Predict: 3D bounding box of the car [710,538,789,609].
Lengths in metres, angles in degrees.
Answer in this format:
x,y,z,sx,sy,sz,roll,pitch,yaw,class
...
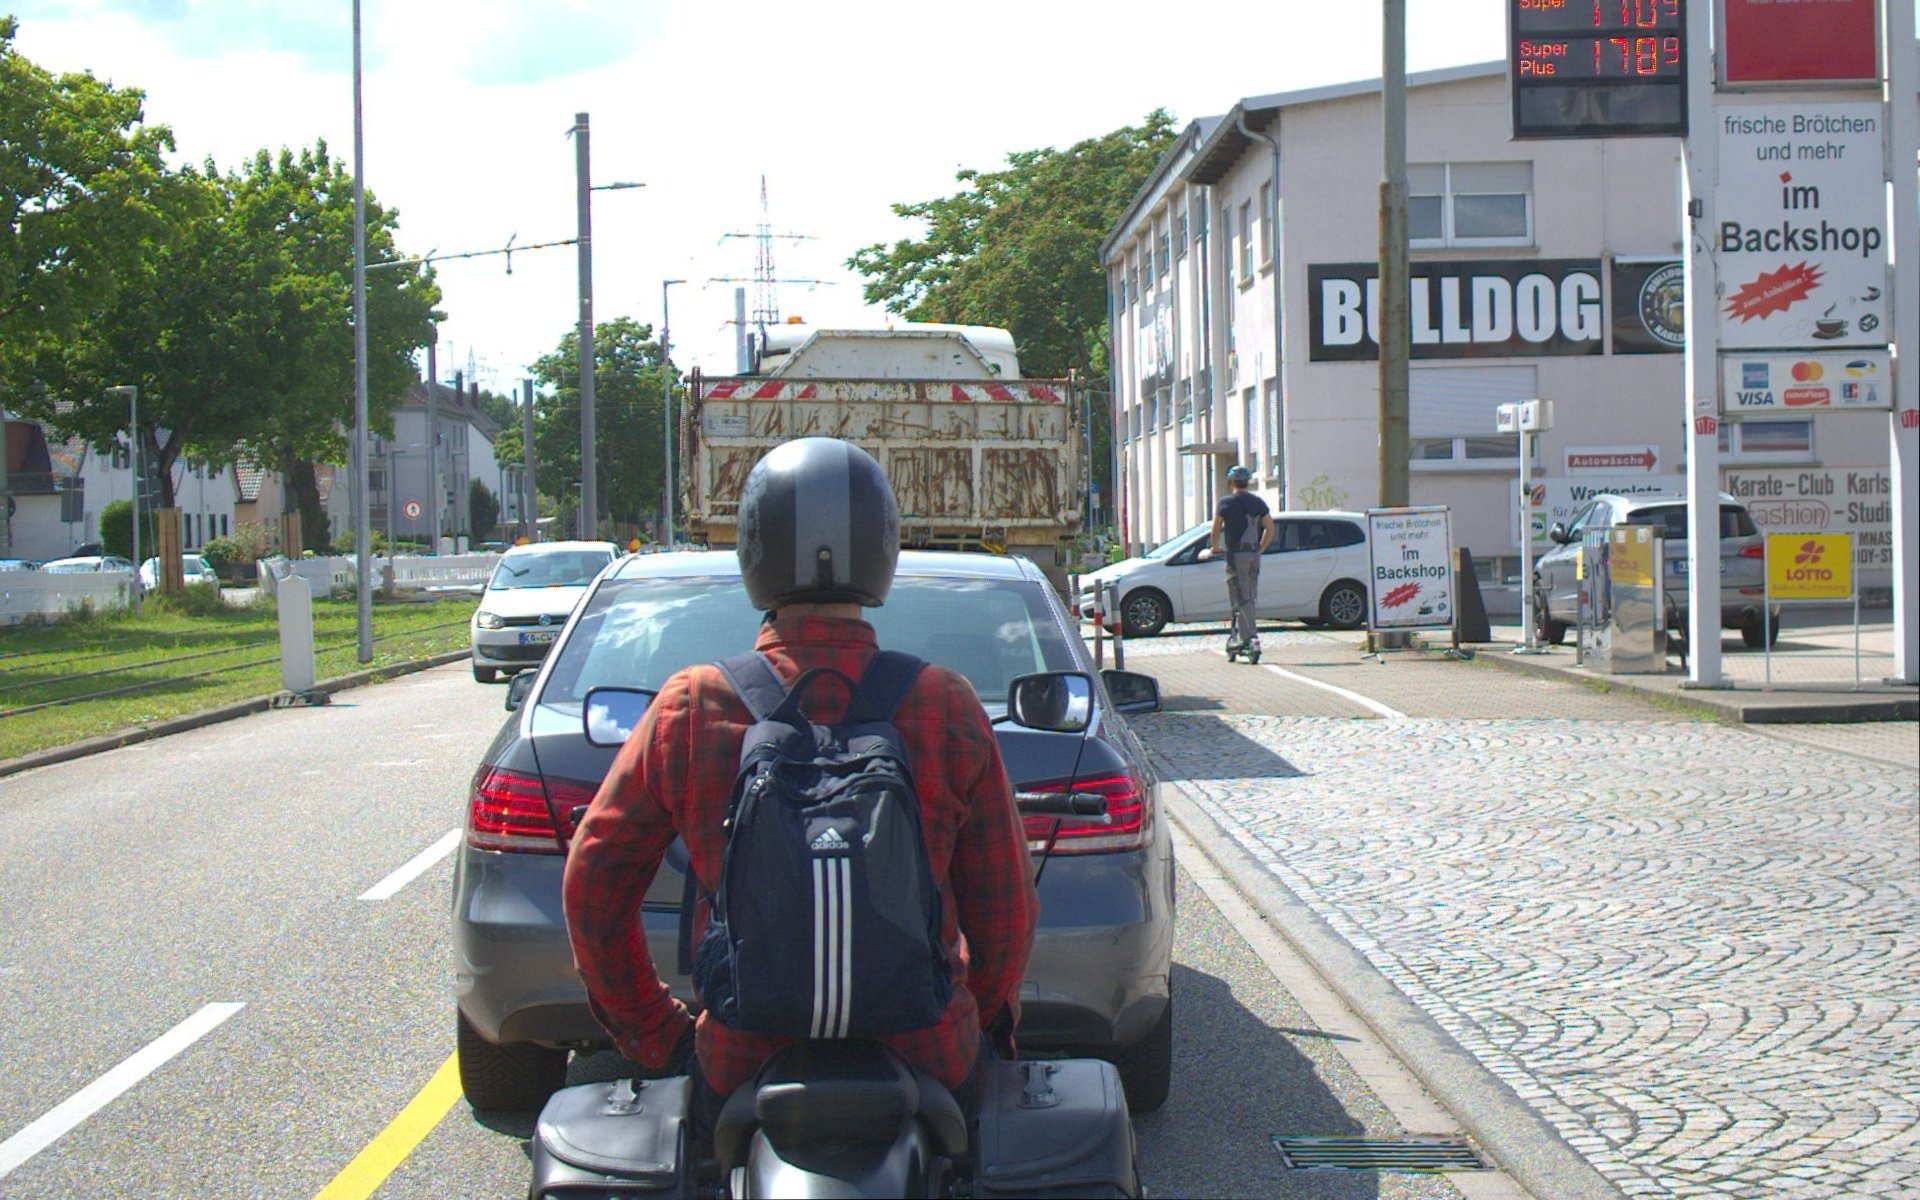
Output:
x,y,z,sx,sy,sz,roll,pitch,yaw,class
-5.053,-0.651,82.959,1.680,1.619,4.119,-1,1,-1,car

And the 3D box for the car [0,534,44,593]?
x,y,z,sx,sy,sz,roll,pitch,yaw,class
-29.268,-1.113,104.585,1.698,1.733,4.062,-1,1,0,car

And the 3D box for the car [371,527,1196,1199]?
x,y,z,sx,sy,sz,roll,pitch,yaw,class
-0.454,0.552,9.799,1.832,1.474,4.010,-1,1,-2,car

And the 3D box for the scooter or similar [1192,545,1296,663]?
x,y,z,sx,sy,sz,roll,pitch,yaw,class
2.864,0.026,34.804,0.795,1.141,1.519,-1,1,-5,scooter or similar

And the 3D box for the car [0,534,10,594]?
x,y,z,sx,sy,sz,roll,pitch,yaw,class
-28.673,-1.001,98.575,1.698,1.733,4.062,-1,1,0,car

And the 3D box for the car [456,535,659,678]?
x,y,z,sx,sy,sz,roll,pitch,yaw,class
-4.308,0.024,37.313,1.715,1.409,4.262,-1,1,-1,car

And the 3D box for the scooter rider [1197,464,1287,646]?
x,y,z,sx,sy,sz,roll,pitch,yaw,class
2.853,-0.462,34.808,0.795,1.812,0.508,-1,1,-5,scooter rider

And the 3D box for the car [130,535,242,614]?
x,y,z,sx,sy,sz,roll,pitch,yaw,class
-17.944,-0.621,79.804,1.698,1.733,3.860,-1,1,0,car

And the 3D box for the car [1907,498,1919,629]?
x,y,z,sx,sy,sz,roll,pitch,yaw,class
11.788,-0.400,37.241,1.832,1.474,4.010,-1,1,-2,car

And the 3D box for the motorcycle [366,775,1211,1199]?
x,y,z,sx,sy,sz,roll,pitch,yaw,class
-0.216,0.864,5.205,0.976,1.010,2.432,1,1,-1,motorcycle

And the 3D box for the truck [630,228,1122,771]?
x,y,z,sx,sy,sz,roll,pitch,yaw,class
-0.635,-0.715,25.466,2.970,3.293,8.408,-1,1,-2,truck

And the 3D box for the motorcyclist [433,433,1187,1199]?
x,y,z,sx,sy,sz,roll,pitch,yaw,class
-0.206,0.589,5.083,0.969,1.627,1.215,1,1,-1,motorcyclist

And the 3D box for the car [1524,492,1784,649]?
x,y,z,sx,sy,sz,roll,pitch,yaw,class
7.323,-0.340,36.643,1.832,1.530,4.010,-1,1,-2,car

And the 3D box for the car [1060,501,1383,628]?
x,y,z,sx,sy,sz,roll,pitch,yaw,class
3.549,-0.500,47.029,4.104,1.619,1.686,-1,1,-8,car
